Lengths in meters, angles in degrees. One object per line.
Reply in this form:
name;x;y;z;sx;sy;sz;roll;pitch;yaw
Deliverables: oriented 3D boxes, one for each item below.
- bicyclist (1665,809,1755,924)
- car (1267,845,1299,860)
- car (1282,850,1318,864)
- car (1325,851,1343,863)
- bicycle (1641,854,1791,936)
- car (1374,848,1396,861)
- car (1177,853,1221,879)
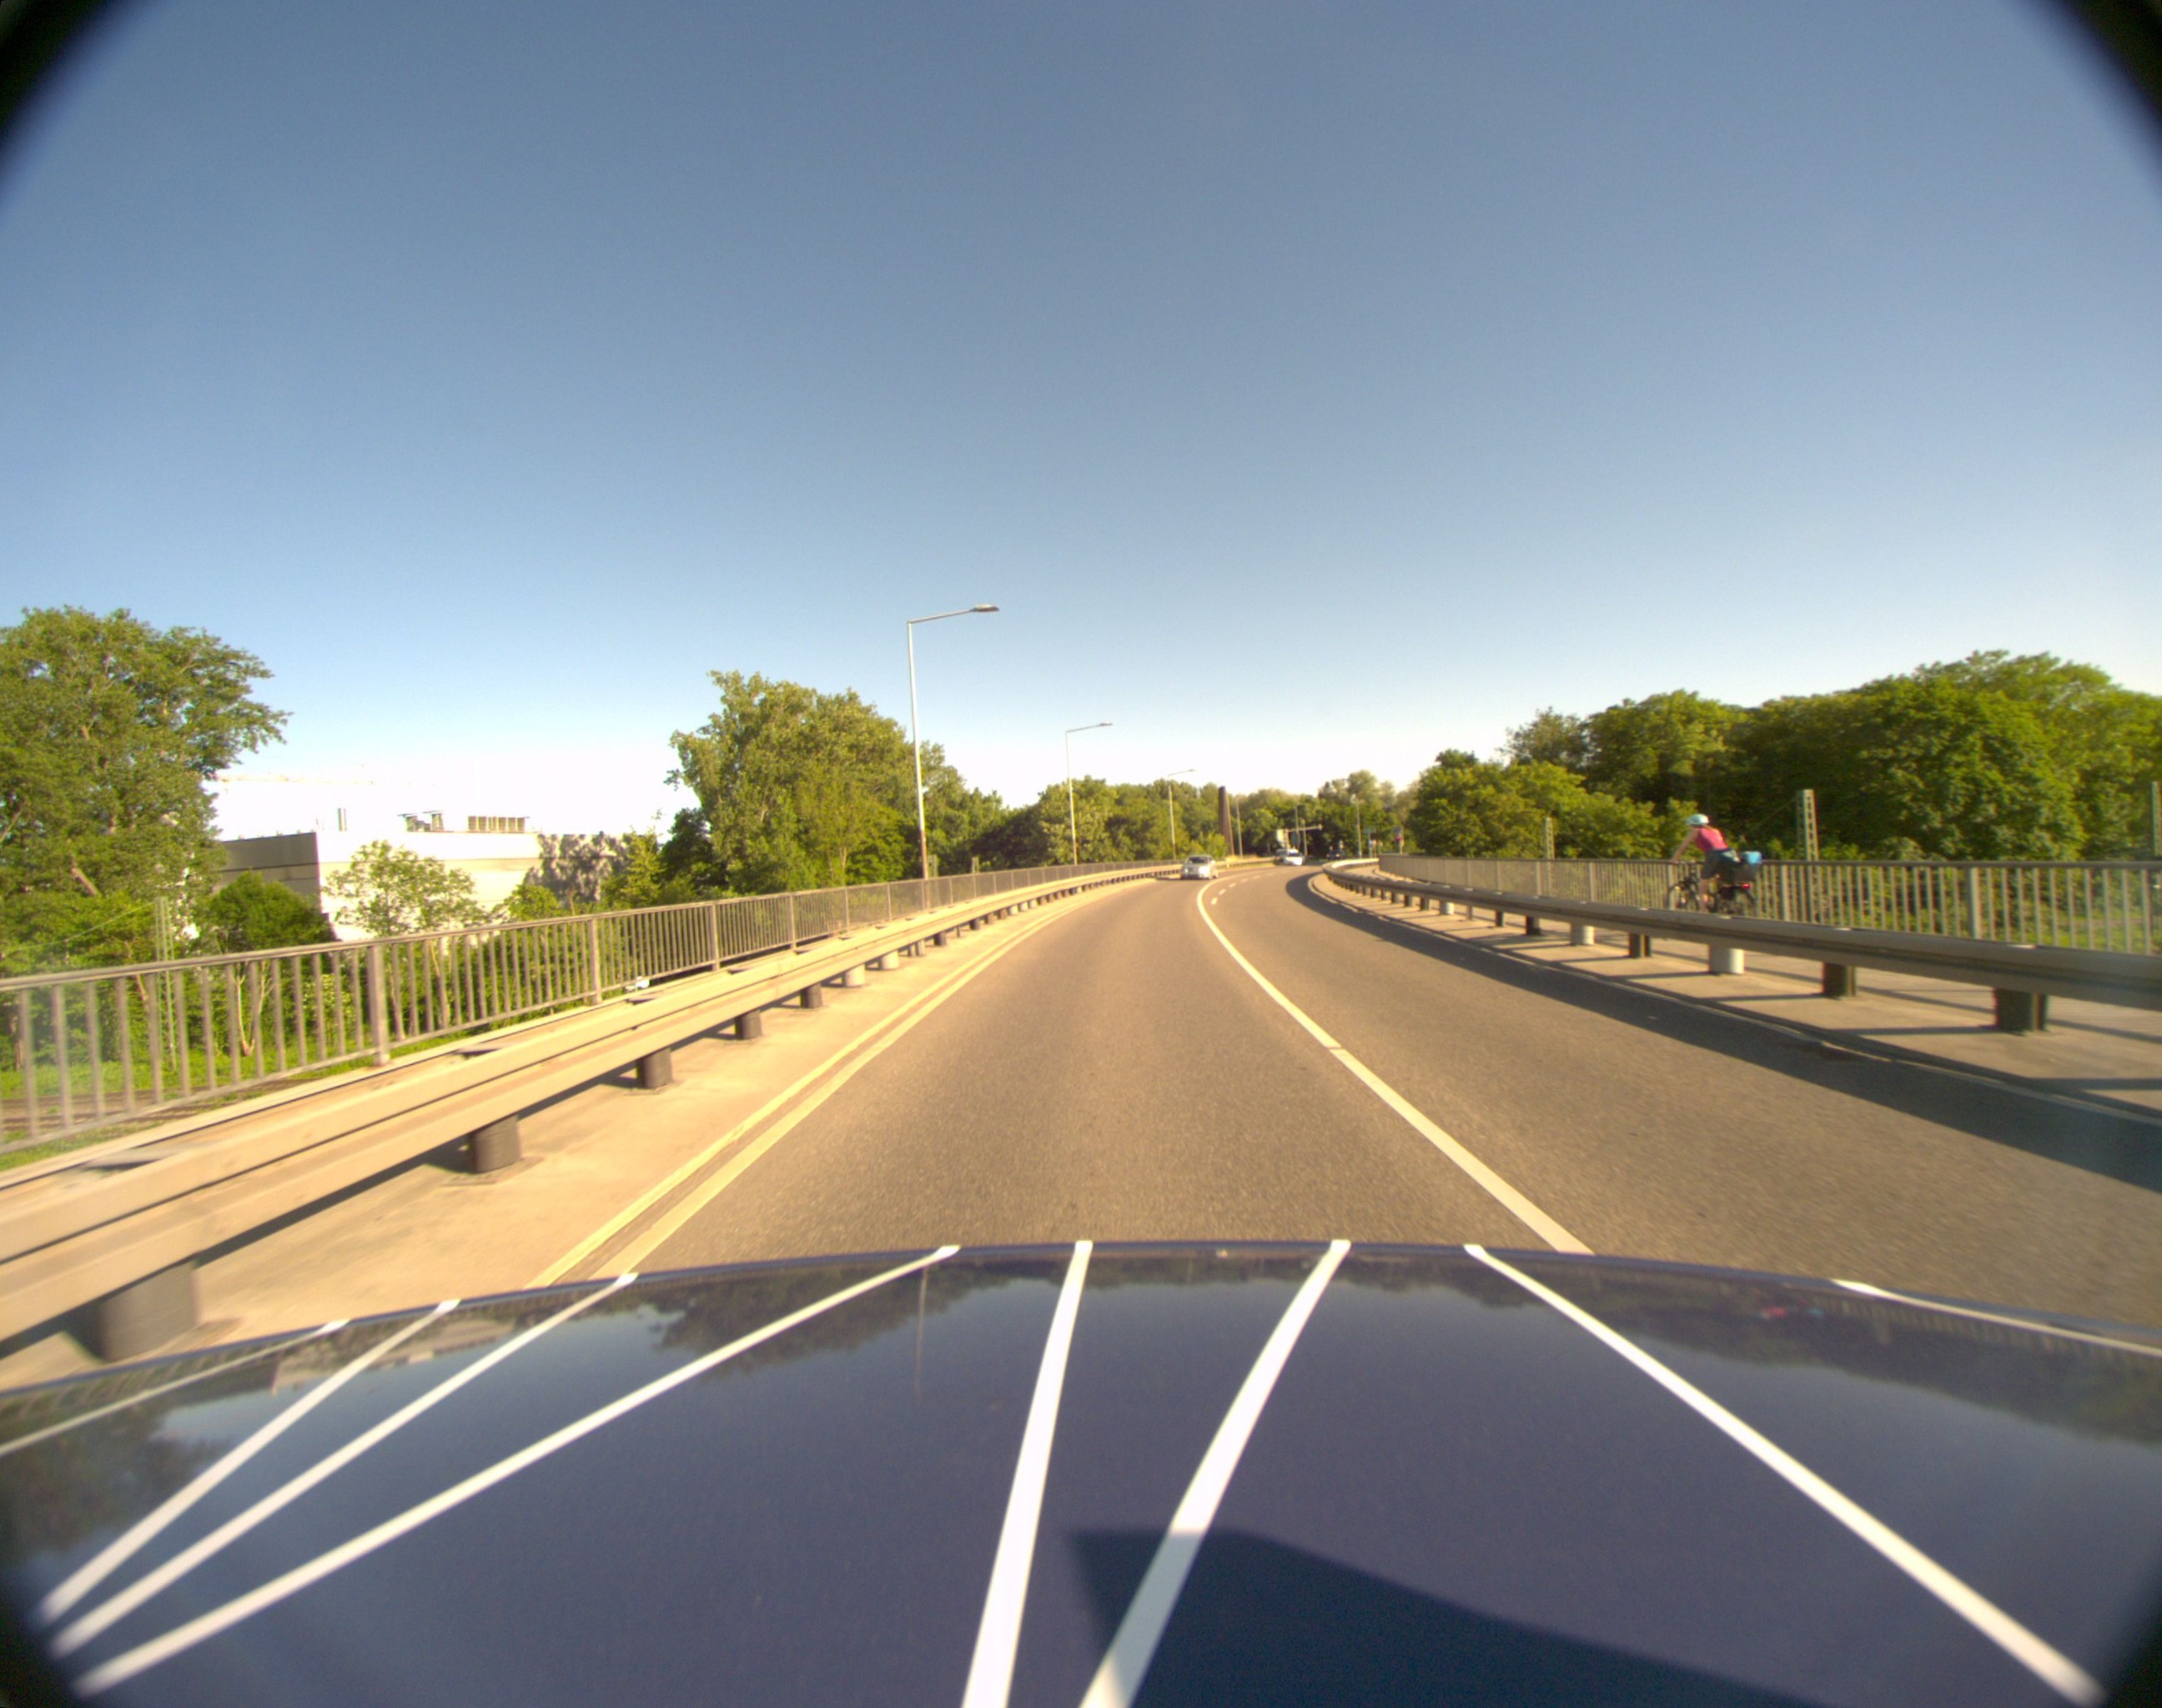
bicyclist;8.952;0.175;10.845;0.655;1.580;0.768;-1;1;4
car;36.810;-0.210;138.282;2.118;2.484;5.694;-2;-2;-30
car;24.305;0.366;84.220;4.138;1.465;1.989;-2;0;-43
car;37.623;0.441;112.894;1.918;1.608;3.749;-1;0;29
bicycle;8.976;0.539;10.856;0.655;1.058;1.890;-1;0;4
car;36.610;0.045;91.406;1.874;1.431;4.329;-1;0;29
car;7.119;0.706;45.509;1.762;1.428;4.336;-1;0;19
